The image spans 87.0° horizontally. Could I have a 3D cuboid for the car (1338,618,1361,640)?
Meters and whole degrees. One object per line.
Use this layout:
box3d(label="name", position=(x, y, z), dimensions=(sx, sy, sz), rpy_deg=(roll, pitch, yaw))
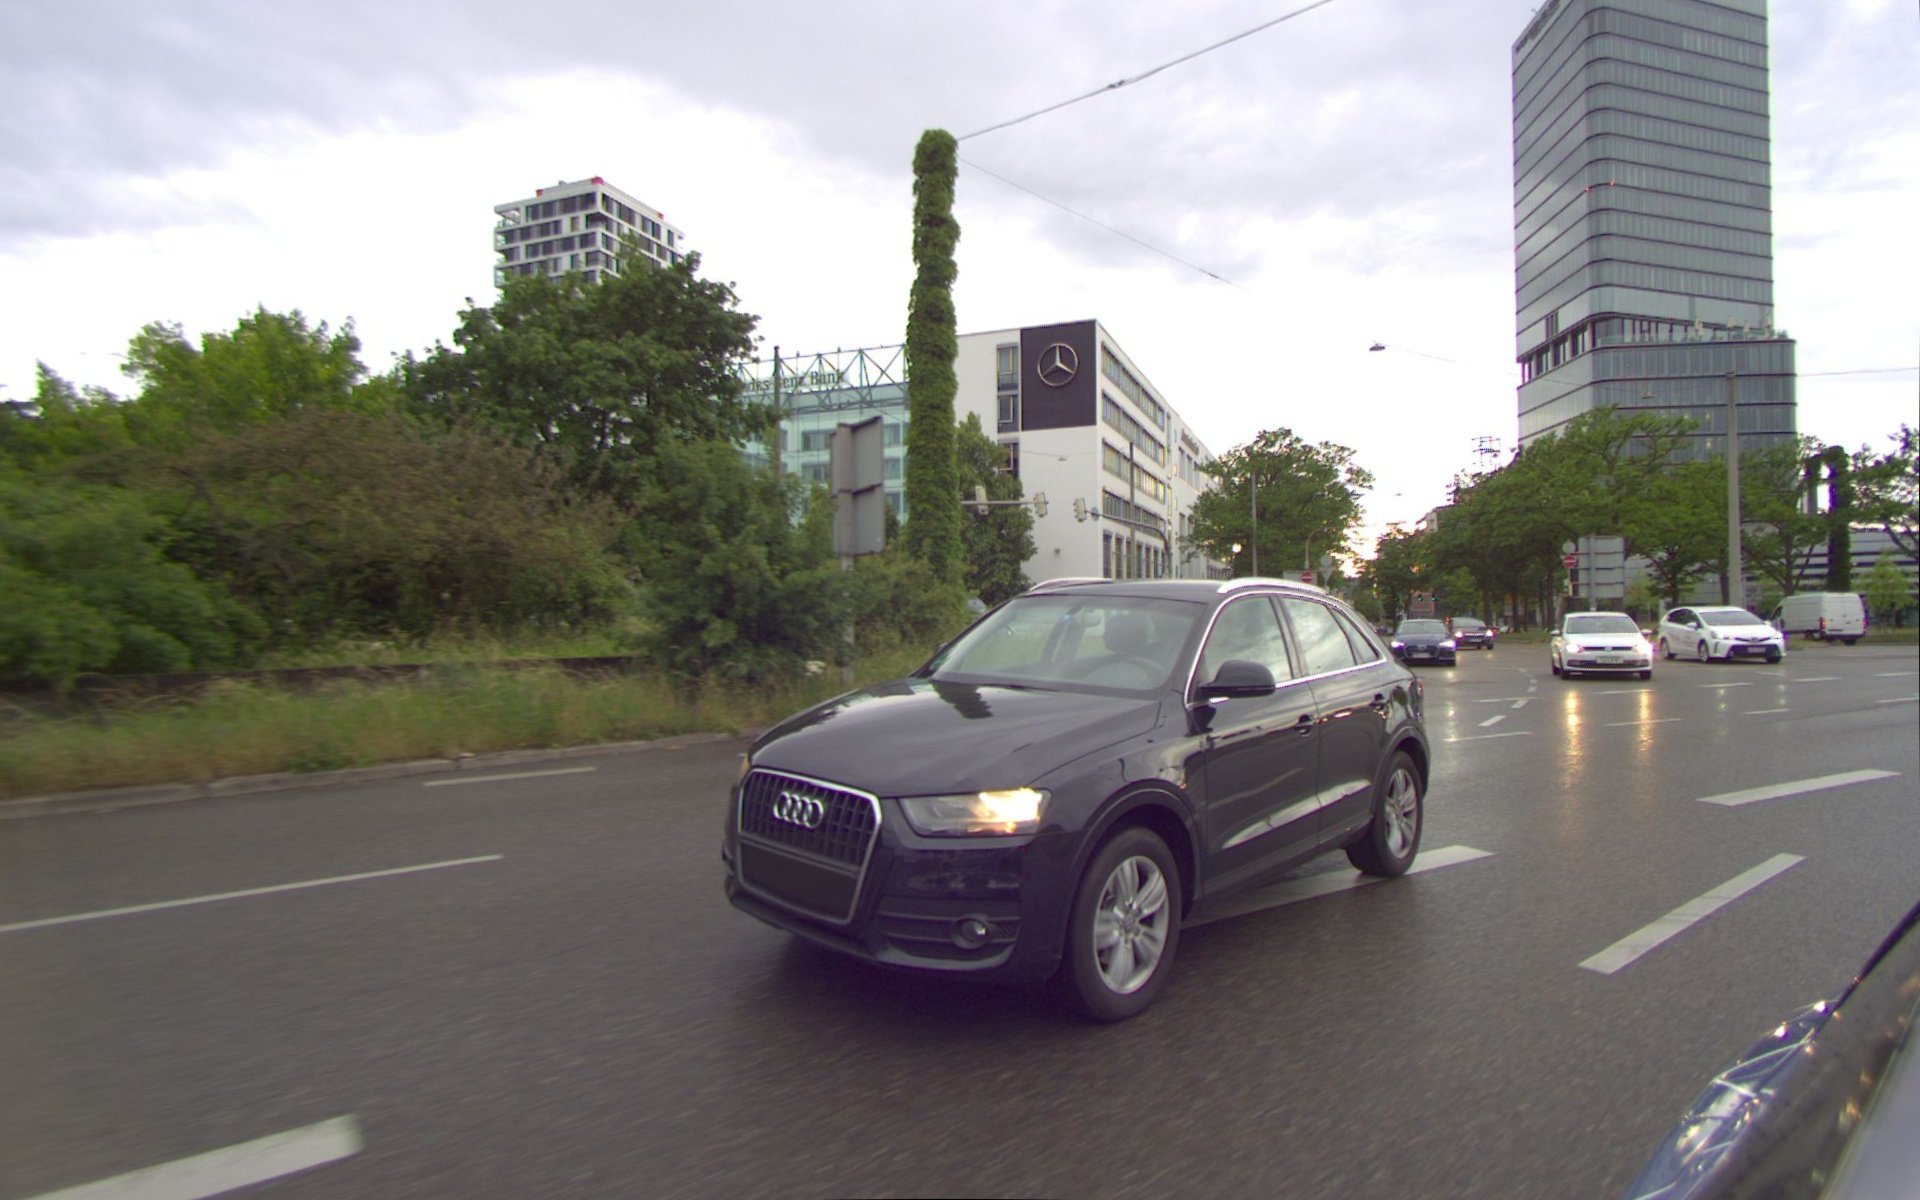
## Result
box3d(label="car", position=(30.194, 2.225, 78.479), dimensions=(1.592, 1.533, 3.608), rpy_deg=(-1, 0, 20))

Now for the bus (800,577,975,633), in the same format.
box3d(label="bus", position=(-4.702, 0.378, 62.815), dimensions=(11.742, 3.241, 1.979), rpy_deg=(-1, -1, 30))

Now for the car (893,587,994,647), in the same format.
box3d(label="car", position=(-0.831, 0.812, 47.608), dimensions=(4.790, 2.700, 1.899), rpy_deg=(-2, -2, 45))

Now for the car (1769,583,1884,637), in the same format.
box3d(label="car", position=(44.820, 0.515, 52.540), dimensions=(1.900, 2.618, 5.443), rpy_deg=(-1, -1, 10))

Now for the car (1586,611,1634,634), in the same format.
box3d(label="car", position=(45.725, 1.558, 71.267), dimensions=(1.658, 1.504, 3.774), rpy_deg=(-2, -1, 14))

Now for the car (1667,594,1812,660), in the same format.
box3d(label="car", position=(21.923, 0.700, 28.683), dimensions=(1.803, 1.603, 4.274), rpy_deg=(-3, 0, 17))

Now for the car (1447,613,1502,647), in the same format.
box3d(label="car", position=(23.091, 1.331, 45.559), dimensions=(1.549, 1.433, 3.856), rpy_deg=(-2, -1, 18))

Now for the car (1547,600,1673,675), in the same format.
box3d(label="car", position=(14.345, 0.790, 22.560), dimensions=(1.712, 1.491, 4.227), rpy_deg=(-3, -1, 25))

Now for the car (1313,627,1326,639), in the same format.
box3d(label="car", position=(54.523, 4.942, 153.329), dimensions=(1.691, 1.730, 3.860), rpy_deg=(-1, 0, 18))

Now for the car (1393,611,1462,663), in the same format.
box3d(label="car", position=(14.221, 1.069, 30.689), dimensions=(1.743, 1.416, 3.963), rpy_deg=(-1, 0, 26))

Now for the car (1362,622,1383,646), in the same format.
box3d(label="car", position=(37.410, 3.073, 91.888), dimensions=(1.592, 2.039, 3.608), rpy_deg=(-1, 0, 20))

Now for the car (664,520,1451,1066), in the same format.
box3d(label="car", position=(0.815, 0.541, 4.963), dimensions=(1.725, 1.553, 4.062), rpy_deg=(-1, 0, 43))
